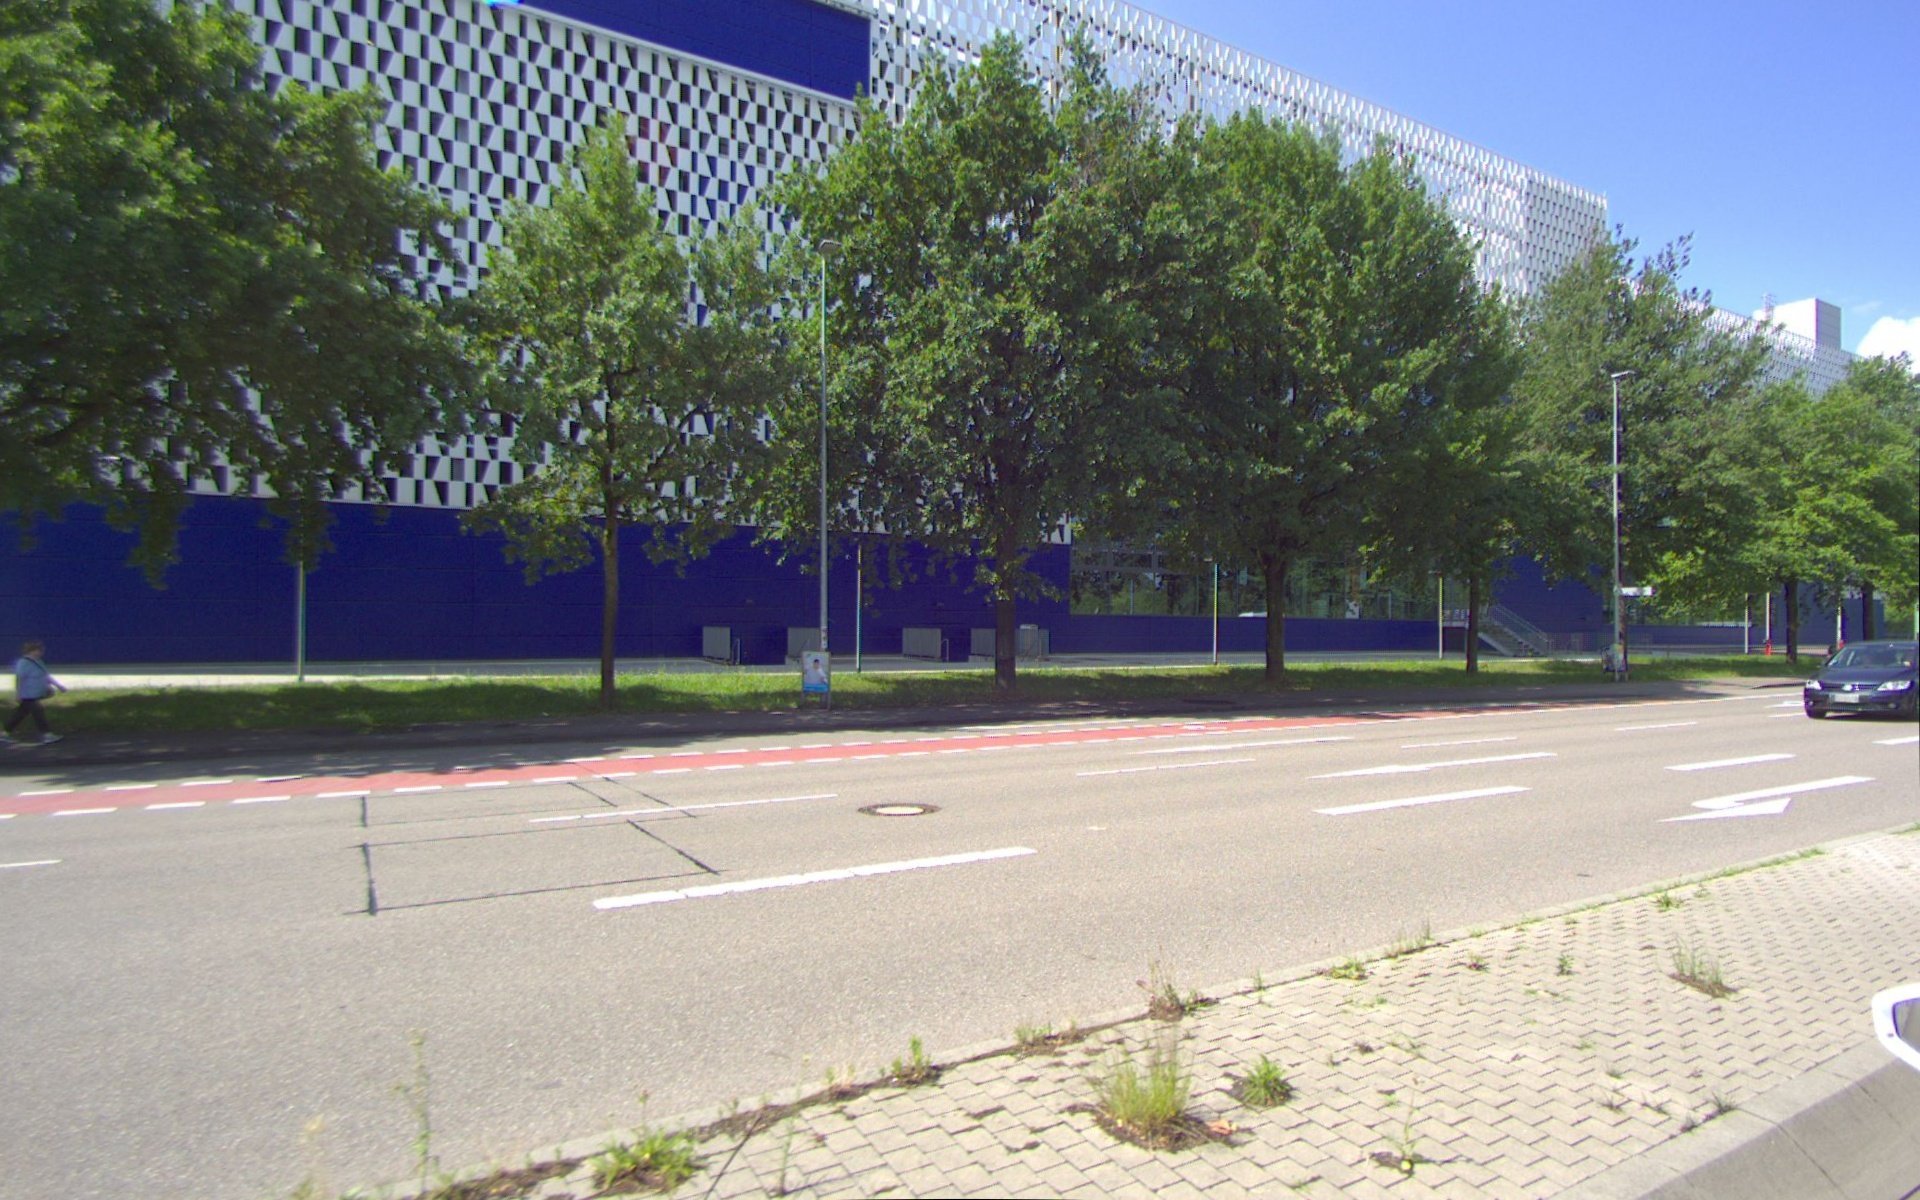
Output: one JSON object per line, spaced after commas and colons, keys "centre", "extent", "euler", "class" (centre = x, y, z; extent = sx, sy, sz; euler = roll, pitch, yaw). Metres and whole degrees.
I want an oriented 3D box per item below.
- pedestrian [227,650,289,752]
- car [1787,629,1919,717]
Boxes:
{"centre": [-11.233, 1.598, 16.085], "extent": [0.752, 1.576, 0.500], "euler": [1, -1, -30], "class": "pedestrian"}
{"centre": [18.820, 1.453, 20.502], "extent": [4.195, 1.630, 1.729], "euler": [1, -5, -33], "class": "car"}
